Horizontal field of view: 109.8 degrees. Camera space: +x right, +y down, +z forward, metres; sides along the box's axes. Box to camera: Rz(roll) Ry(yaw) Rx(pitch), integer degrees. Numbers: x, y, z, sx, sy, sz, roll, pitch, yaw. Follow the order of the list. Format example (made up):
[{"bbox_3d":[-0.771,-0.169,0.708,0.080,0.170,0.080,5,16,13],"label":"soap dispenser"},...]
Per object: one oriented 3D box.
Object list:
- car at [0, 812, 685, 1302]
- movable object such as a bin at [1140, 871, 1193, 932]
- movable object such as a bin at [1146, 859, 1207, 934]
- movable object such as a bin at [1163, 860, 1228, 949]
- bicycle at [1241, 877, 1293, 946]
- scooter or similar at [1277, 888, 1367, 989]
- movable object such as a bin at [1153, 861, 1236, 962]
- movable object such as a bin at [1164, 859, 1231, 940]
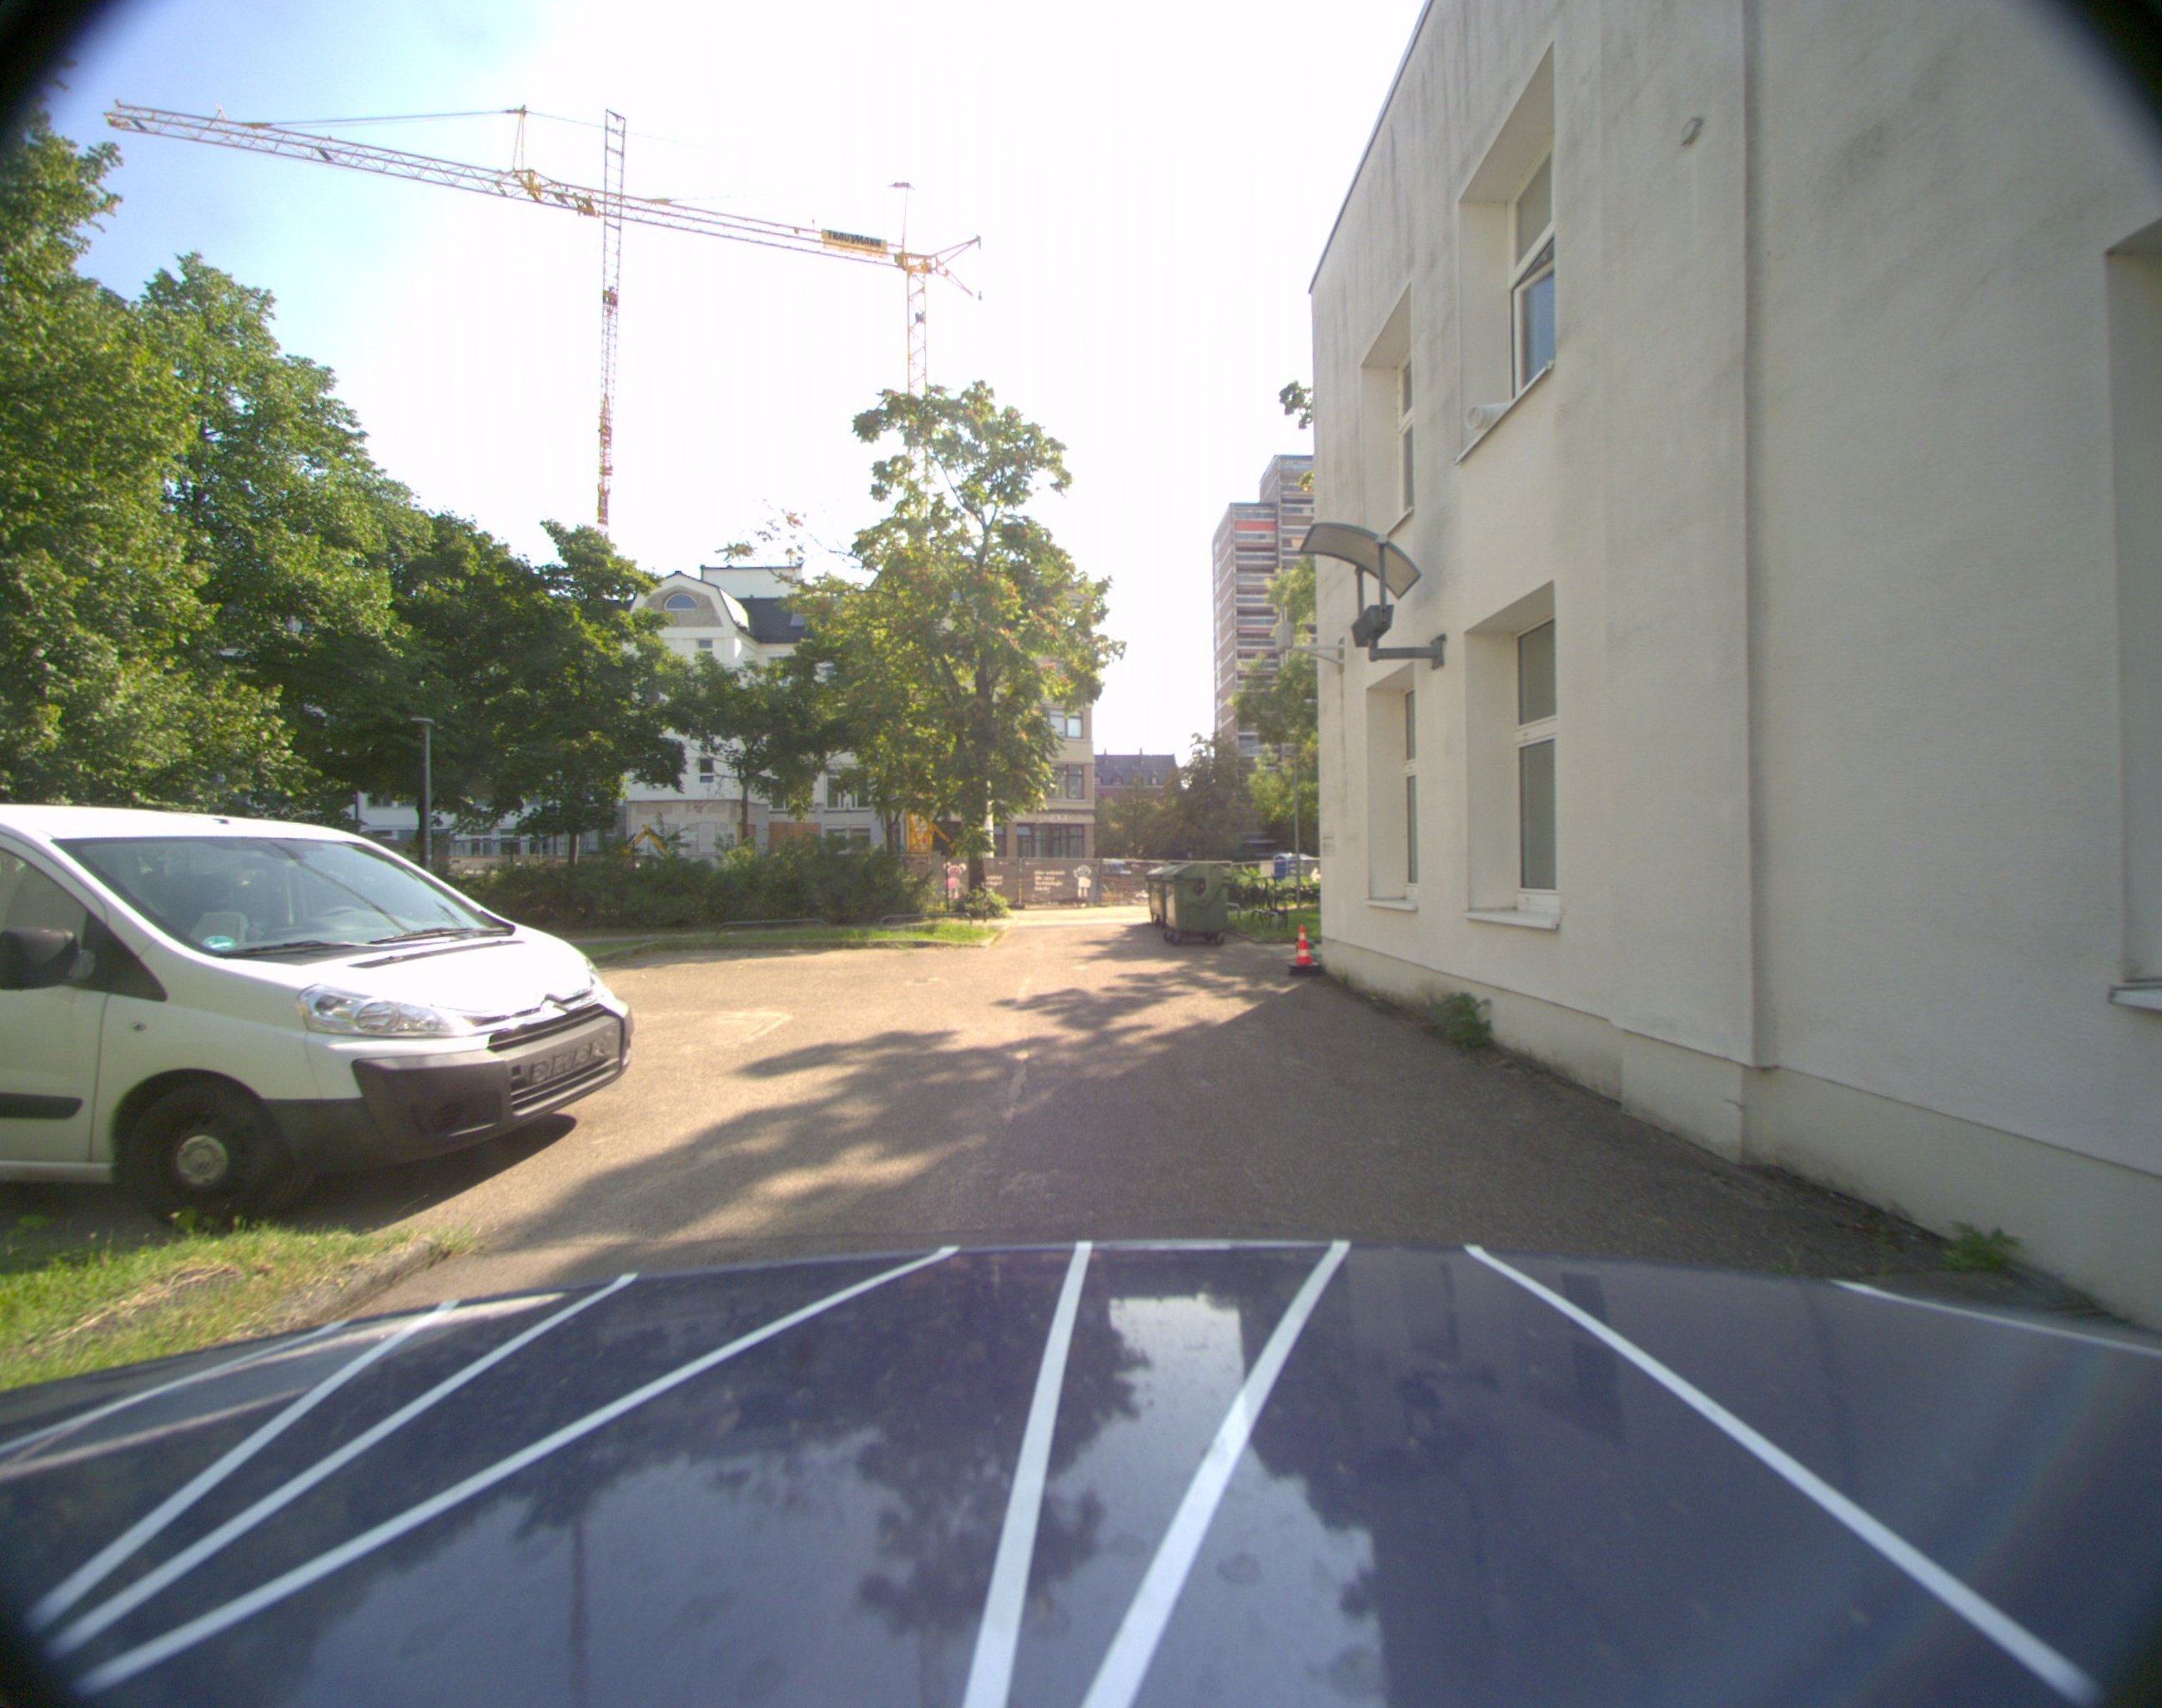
[{"bbox_3d":[-5.129,0.810,4.023,4.969,1.909,2.044,-1,1,1],"label":"car"},{"bbox_3d":[2.184,1.193,19.528,1.037,1.489,1.106,0,0,-12],"label":"movable object such as a bin"},{"bbox_3d":[2.257,0.974,18.130,1.184,1.695,1.376,0,0,-5],"label":"movable object such as a bin"},{"bbox_3d":[2.277,0.973,15.324,1.183,1.695,1.395,0,0,3],"label":"movable object such as a bin"},{"bbox_3d":[3.652,1.093,15.067,0.477,1.206,2.008,0,0,-2],"label":"bicycle"},{"bbox_3d":[3.387,1.151,10.796,0.386,1.255,1.493,0,0,-20],"label":"scooter or similar"},{"bbox_3d":[1.982,0.972,13.519,1.184,1.695,1.376,0,0,-5],"label":"movable object such as a bin"},{"bbox_3d":[2.541,0.973,16.735,1.184,1.695,1.376,0,0,-5],"label":"movable object such as a bin"}]
